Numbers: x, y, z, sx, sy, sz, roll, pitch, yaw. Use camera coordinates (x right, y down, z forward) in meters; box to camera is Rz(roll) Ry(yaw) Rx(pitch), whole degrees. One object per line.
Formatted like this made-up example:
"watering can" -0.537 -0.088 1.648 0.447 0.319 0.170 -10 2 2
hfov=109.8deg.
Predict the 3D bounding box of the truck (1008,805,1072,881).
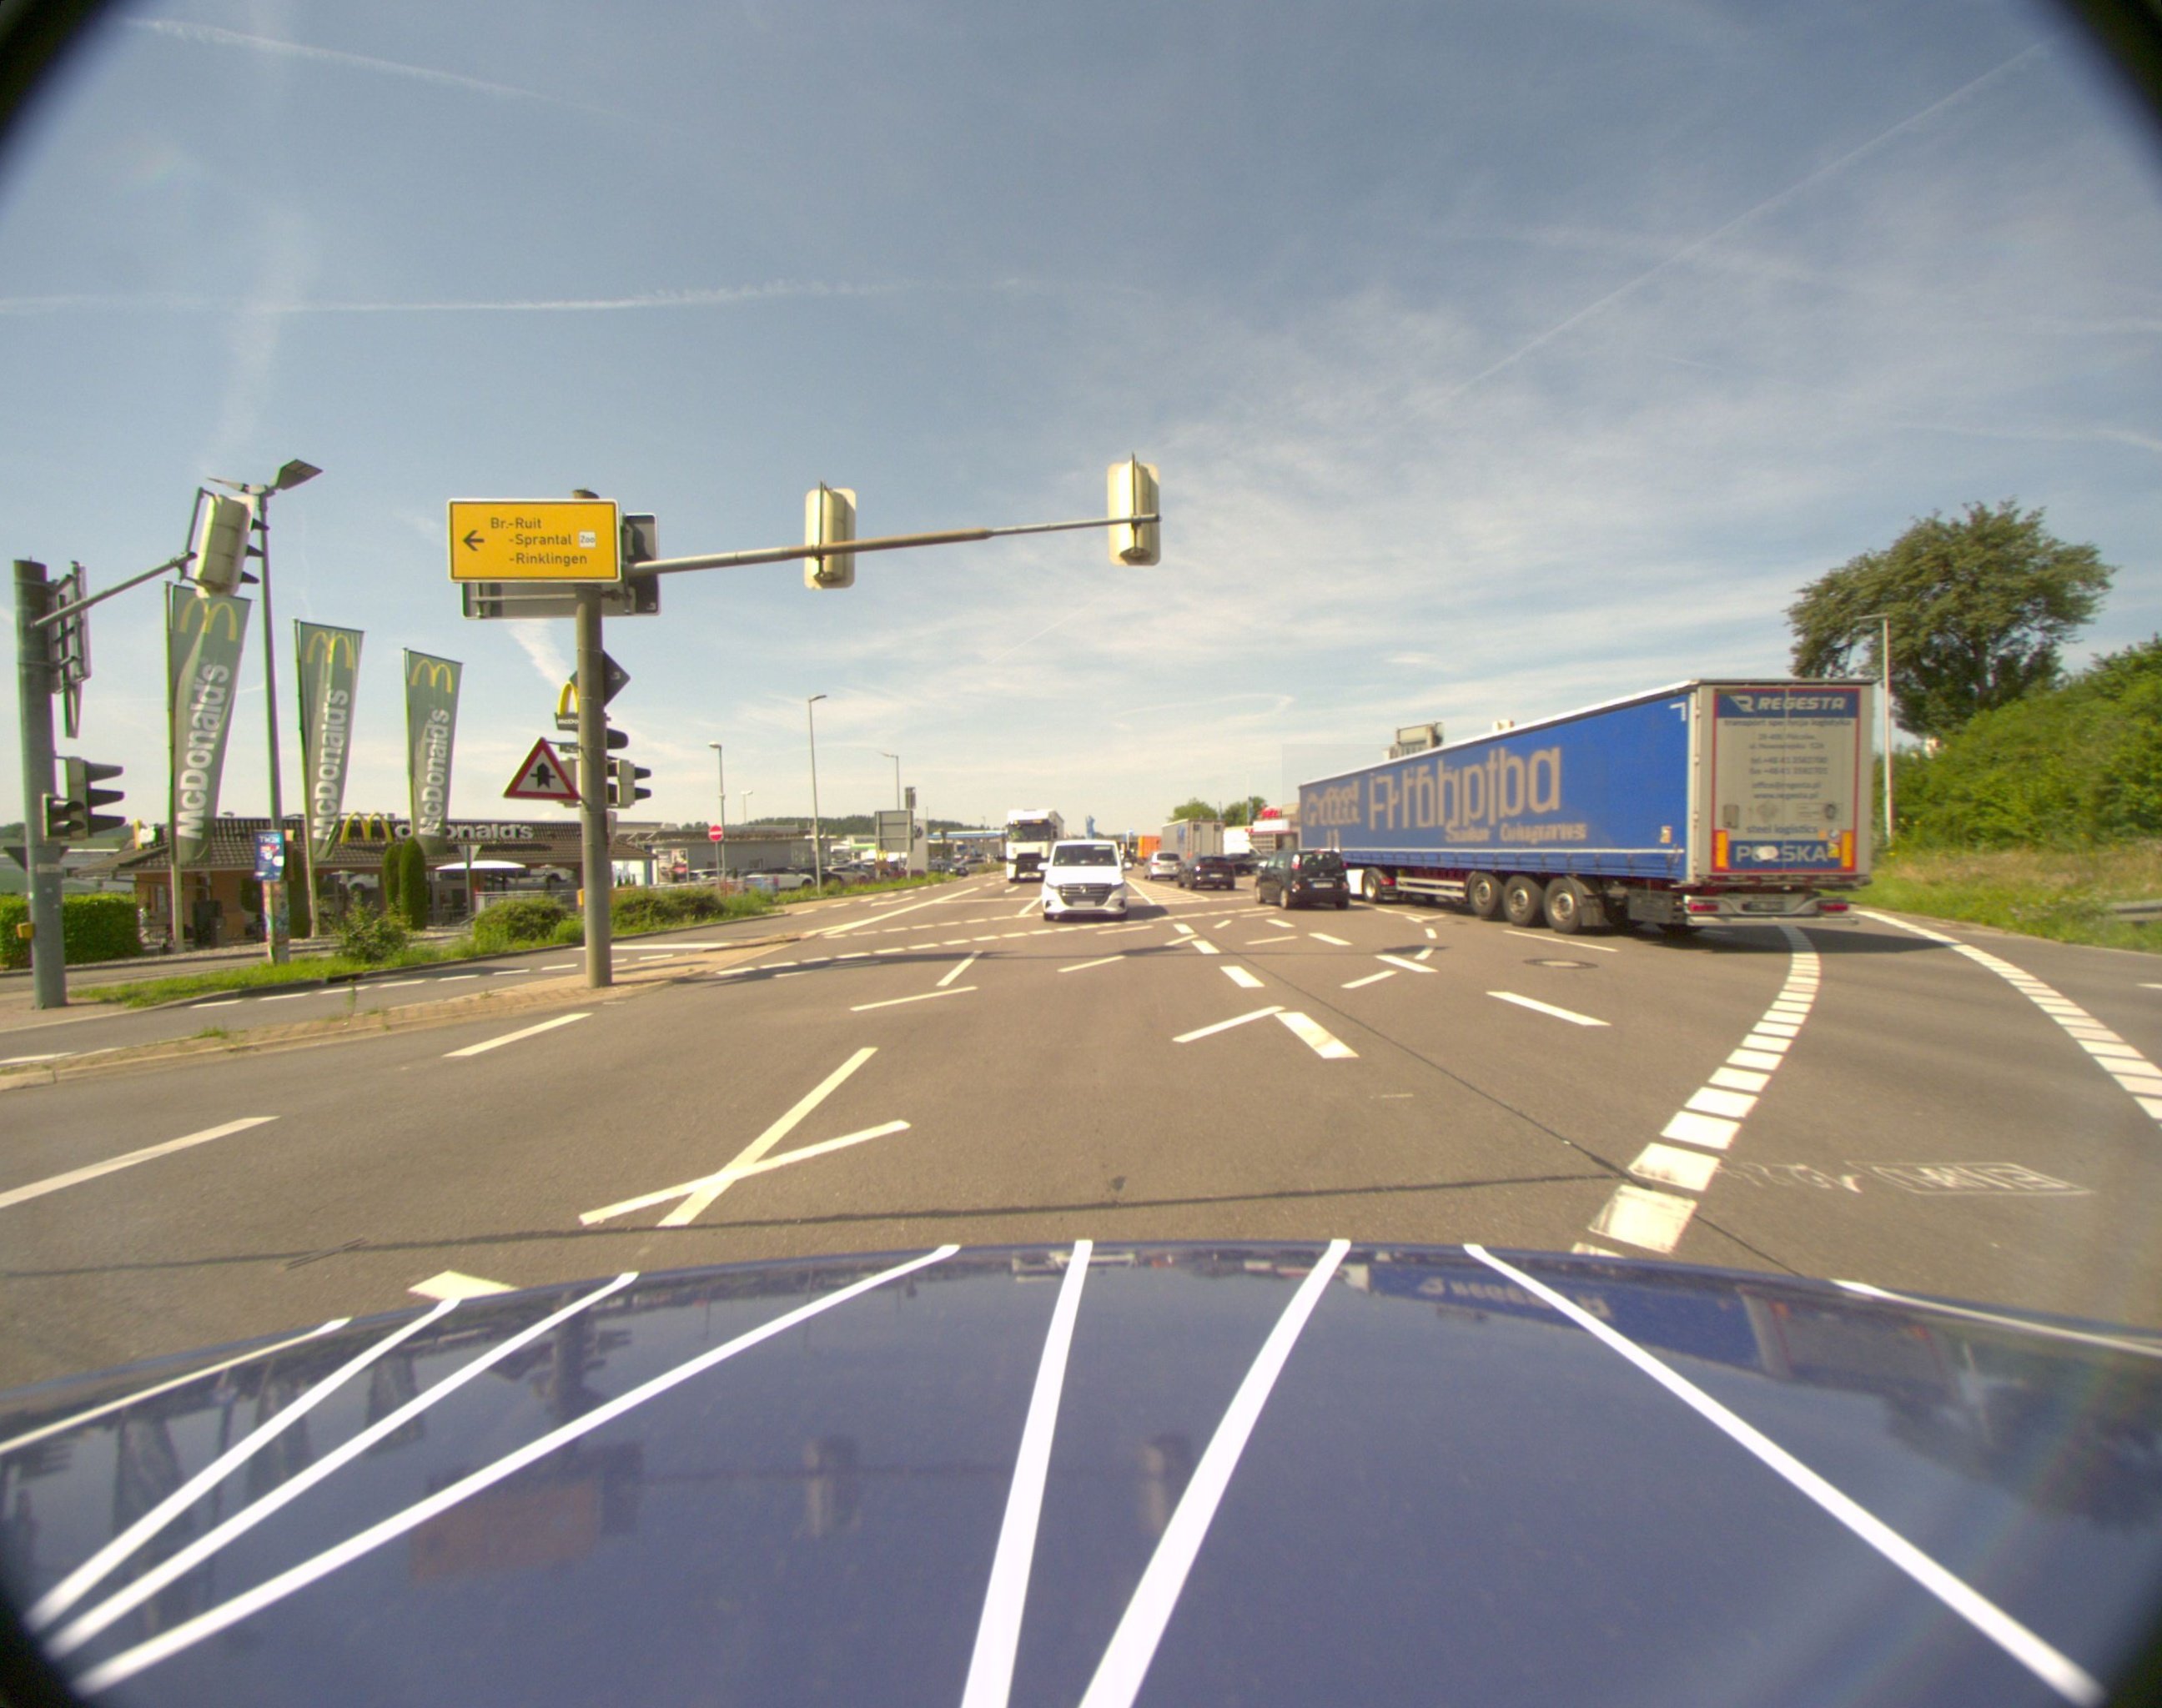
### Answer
"truck" -2.209 -0.575 42.867 2.646 3.964 6.044 0 1 6

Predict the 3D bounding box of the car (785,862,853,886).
"car" -17.957 1.348 52.244 1.771 1.523 4.098 0 1 37

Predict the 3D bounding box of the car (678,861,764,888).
"car" -24.100 1.319 51.000 1.907 1.661 4.828 0 1 37

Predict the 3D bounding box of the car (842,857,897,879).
"car" -17.406 1.140 62.579 4.031 1.661 1.772 -1 1 -29

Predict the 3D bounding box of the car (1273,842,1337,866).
"car" 17.555 0.037 59.652 1.896 1.738 4.457 -3 0 -42

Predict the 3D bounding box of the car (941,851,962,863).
"car" -18.774 0.480 110.476 1.774 1.645 4.540 0 1 7

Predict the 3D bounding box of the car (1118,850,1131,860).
"car" 6.738 0.167 117.621 1.866 1.515 4.589 0 0 2

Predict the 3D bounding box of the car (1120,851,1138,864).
"car" 6.085 0.481 96.195 1.913 1.593 4.588 1 0 -1

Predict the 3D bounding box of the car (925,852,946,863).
"car" -21.275 0.495 111.160 1.774 1.645 4.540 0 1 7

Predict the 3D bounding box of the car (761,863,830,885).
"car" -20.005 1.371 53.362 1.791 1.442 4.163 0 1 37

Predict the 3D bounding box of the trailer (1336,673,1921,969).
"trailer" 9.908 -0.518 17.514 3.101 4.056 14.123 -1 1 -1

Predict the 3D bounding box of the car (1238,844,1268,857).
"car" 22.621 -0.489 99.987 1.877 1.644 4.529 -1 1 -16

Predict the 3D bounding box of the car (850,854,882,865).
"car" -29.218 0.781 103.485 1.818 1.423 4.491 0 1 23

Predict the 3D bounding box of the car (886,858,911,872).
"car" -22.092 1.319 92.134 1.968 1.645 4.536 -1 1 -2

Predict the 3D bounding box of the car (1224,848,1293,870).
"car" 13.257 0.403 56.874 4.628 1.428 1.978 -2 0 45

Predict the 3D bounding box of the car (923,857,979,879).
"car" -10.370 1.123 60.315 1.969 1.325 4.804 -7 2 -44

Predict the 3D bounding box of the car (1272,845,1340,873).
"car" 15.021 0.338 50.608 4.724 1.504 1.950 -5 2 -39

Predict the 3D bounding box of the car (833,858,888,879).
"car" -18.730 1.211 64.540 4.007 1.661 1.916 -1 1 -36

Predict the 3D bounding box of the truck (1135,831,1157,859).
"truck" 9.577 -1.367 112.904 2.727 3.975 6.056 0 1 0

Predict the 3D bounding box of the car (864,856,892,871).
"car" -25.018 1.167 93.931 1.774 1.645 4.540 0 1 6

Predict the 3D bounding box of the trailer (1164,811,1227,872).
"trailer" 8.590 -0.940 58.758 2.698 4.124 13.877 0 1 0

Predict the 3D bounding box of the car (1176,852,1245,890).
"car" 5.395 0.663 32.331 1.999 1.476 4.452 -1 1 -3

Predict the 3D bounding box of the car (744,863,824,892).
"car" -18.355 1.425 47.085 1.855 1.567 4.242 0 1 37

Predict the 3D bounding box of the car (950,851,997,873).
"car" -10.855 0.785 76.799 4.355 2.200 1.759 -1 1 -28

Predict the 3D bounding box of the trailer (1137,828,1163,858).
"trailer" 9.489 -1.490 106.170 2.727 3.975 12.234 0 1 1

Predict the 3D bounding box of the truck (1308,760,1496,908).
"truck" 9.801 -0.579 24.118 3.196 4.056 6.344 -1 1 -1

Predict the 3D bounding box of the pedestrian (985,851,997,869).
"pedestrian" -9.396 0.627 79.122 0.990 1.900 0.742 -1 1 -33

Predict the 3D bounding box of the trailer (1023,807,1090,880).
"trailer" -1.362 -0.636 49.691 2.612 4.203 11.297 0 1 7

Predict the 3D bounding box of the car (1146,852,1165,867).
"car" 8.449 0.619 85.829 1.925 1.593 4.591 1 0 8

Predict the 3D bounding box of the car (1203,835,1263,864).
"car" 15.572 -0.457 78.118 5.721 2.822 2.117 0 0 3

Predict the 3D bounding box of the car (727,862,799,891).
"car" -20.383 1.412 48.827 1.771 1.661 3.918 0 1 37

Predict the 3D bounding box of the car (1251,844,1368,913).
"car" 6.214 0.608 21.163 1.999 1.716 3.999 -1 1 -1

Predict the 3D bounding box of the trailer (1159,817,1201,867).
"trailer" 8.502 -1.030 65.946 2.652 4.081 6.179 -1 1 -1

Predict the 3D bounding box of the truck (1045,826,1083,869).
"truck" -1.586 -0.666 74.533 2.646 3.964 9.242 0 1 5

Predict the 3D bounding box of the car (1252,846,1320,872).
"car" 14.369 0.331 53.178 4.723 1.467 1.888 -5 2 -32

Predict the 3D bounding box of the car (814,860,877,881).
"car" -17.586 1.208 56.910 1.744 1.483 4.273 0 1 37

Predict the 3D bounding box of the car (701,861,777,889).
"car" -22.289 1.315 49.687 1.771 1.661 4.178 0 1 37

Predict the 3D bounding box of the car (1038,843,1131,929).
"car" 0.138 0.666 19.317 1.993 1.858 5.803 0 1 1

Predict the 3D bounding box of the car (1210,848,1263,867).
"car" 13.682 0.295 66.965 4.189 1.613 2.025 -1 1 -26

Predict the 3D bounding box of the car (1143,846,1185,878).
"car" 4.812 0.449 44.546 1.848 1.722 4.588 -2 0 -1

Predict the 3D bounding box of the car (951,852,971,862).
"car" -18.280 0.447 116.174 1.774 1.571 4.540 0 1 7
